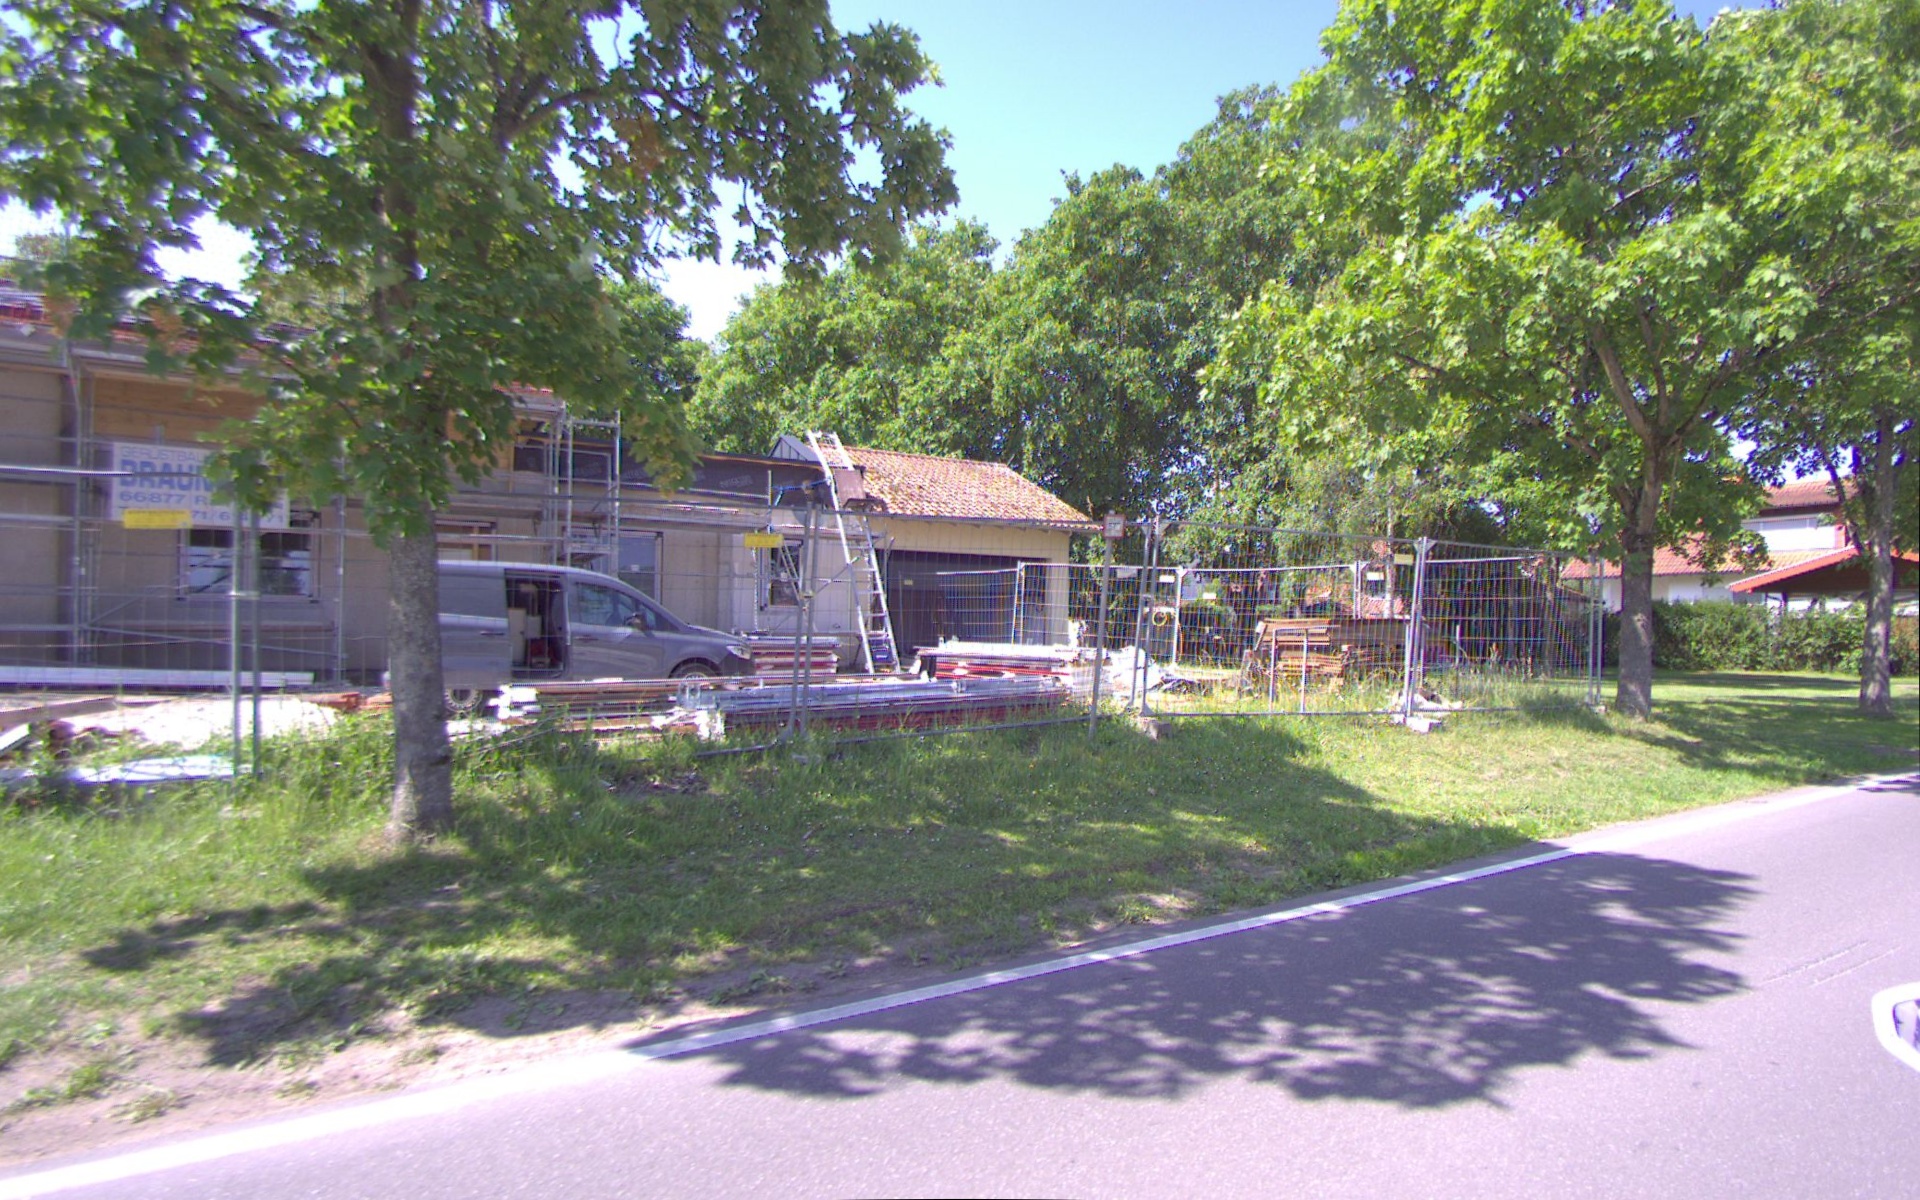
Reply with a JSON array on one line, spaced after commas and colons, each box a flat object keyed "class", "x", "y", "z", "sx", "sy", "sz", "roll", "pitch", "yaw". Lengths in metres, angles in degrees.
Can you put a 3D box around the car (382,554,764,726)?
[{"class": "car", "x": -4.895, "y": 0.481, "z": 12.828, "sx": 4.279, "sy": 1.862, "sz": 1.960, "roll": 1, "pitch": -1, "yaw": -31}]
